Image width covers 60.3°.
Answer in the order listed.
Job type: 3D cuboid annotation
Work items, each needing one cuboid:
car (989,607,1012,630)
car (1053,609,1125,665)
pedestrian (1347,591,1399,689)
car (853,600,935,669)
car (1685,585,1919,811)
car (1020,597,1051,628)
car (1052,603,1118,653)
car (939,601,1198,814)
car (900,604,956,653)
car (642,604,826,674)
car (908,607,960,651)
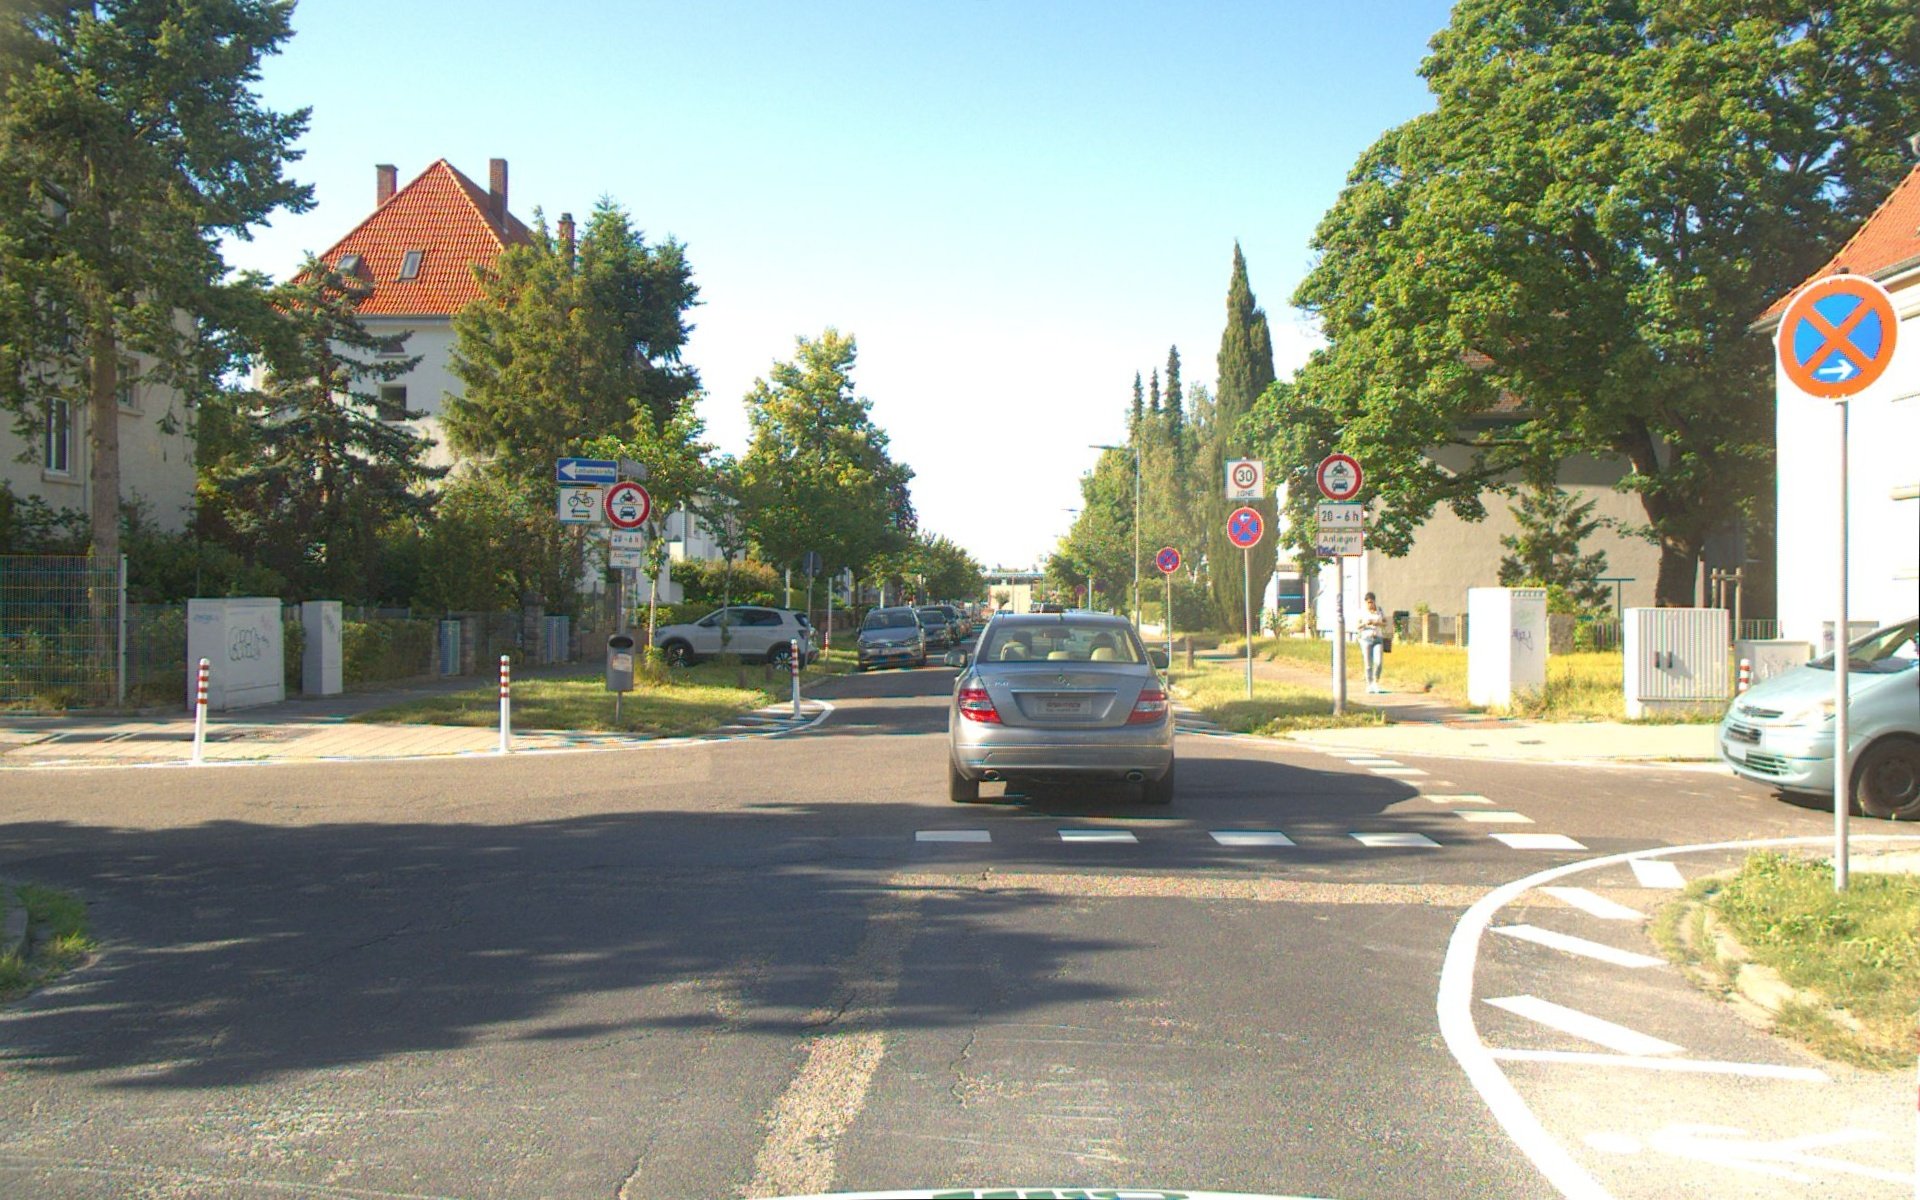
[{"bbox_3d":[3.004,1.368,122.556,1.564,1.638,3.643,0,0,0],"label":"car"},{"bbox_3d":[3.580,1.003,46.369,1.698,1.506,3.725,0,0,0],"label":"car"},{"bbox_3d":[7.004,0.674,28.094,0.750,1.639,0.835,0,-1,7],"label":"pedestrian"},{"bbox_3d":[-1.719,0.896,44.260,1.953,1.637,4.000,-3,0,0],"label":"car"},{"bbox_3d":[8.127,0.705,12.877,4.145,1.637,1.889,0,0,2],"label":"car"},{"bbox_3d":[4.654,0.761,102.057,1.816,1.873,4.000,0,0,1],"label":"car"},{"bbox_3d":[4.273,0.938,57.068,1.953,1.638,4.000,0,0,0],"label":"car"},{"bbox_3d":[0.862,0.761,13.585,1.798,1.466,4.001,1,0,3],"label":"car"},{"bbox_3d":[-1.173,1.046,62.065,1.953,1.637,4.000,-3,0,0],"label":"car"},{"bbox_3d":[-5.295,0.908,39.200,4.107,1.591,1.841,1,0,-1],"label":"car"},{"bbox_3d":[-1.044,1.163,67.858,1.953,1.637,4.000,-3,0,0],"label":"car"}]
